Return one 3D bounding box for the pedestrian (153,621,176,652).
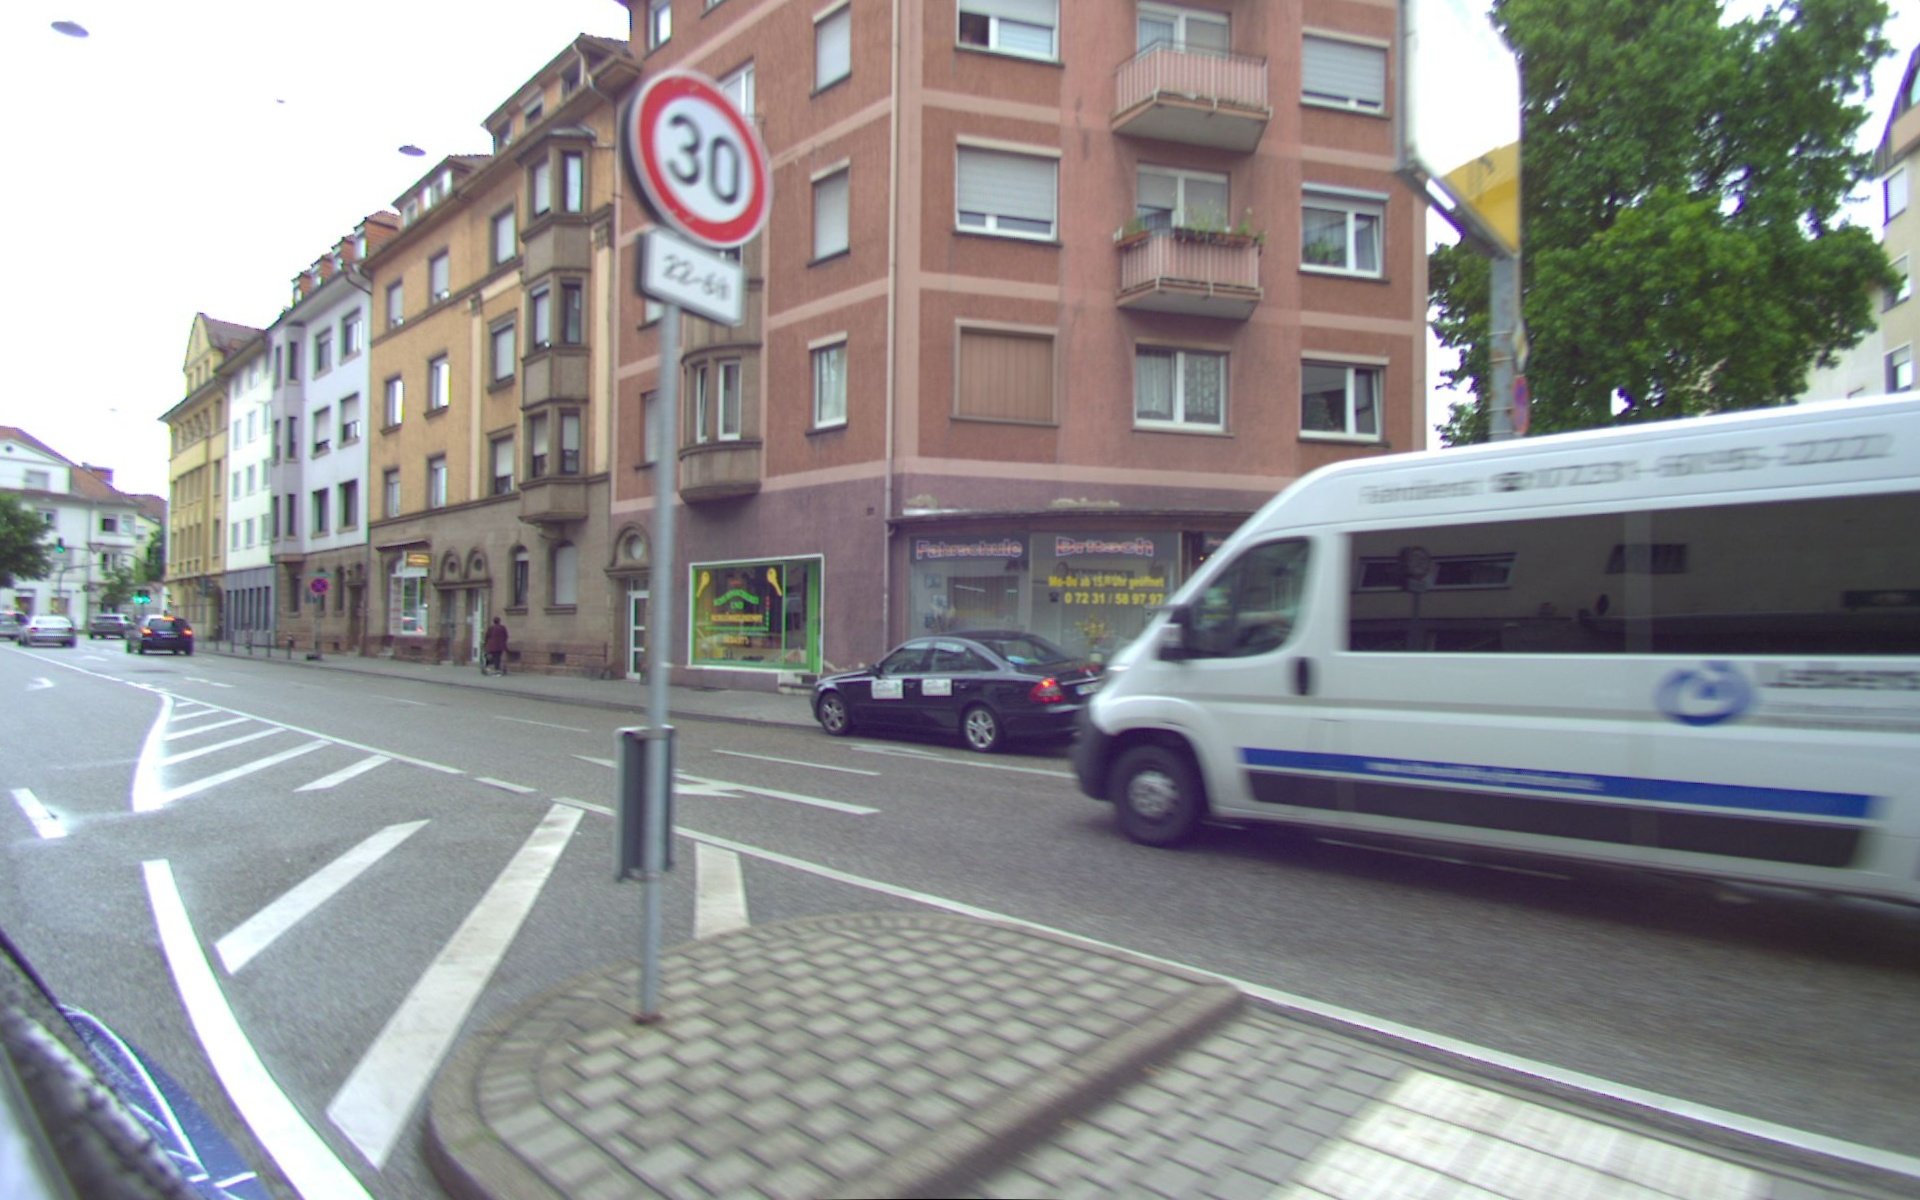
[{"bbox_3d":[-47.706,2.159,60.686,1.032,1.784,0.884,-1,1,41],"label":"pedestrian"}]

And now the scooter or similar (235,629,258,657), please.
[{"bbox_3d":[-32.260,1.921,45.759,1.578,1.222,0.456,-1,2,42],"label":"scooter or similar"}]

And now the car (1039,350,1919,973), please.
[{"bbox_3d":[3.574,0.283,5.593,6.352,2.454,2.063,-1,-3,43],"label":"car"}]

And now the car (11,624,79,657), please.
[{"bbox_3d":[-43.453,1.890,48.045,4.559,1.481,1.922,-1,-3,42],"label":"car"}]

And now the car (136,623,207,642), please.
[{"bbox_3d":[-63.204,2.616,81.153,2.012,1.529,4.006,0,-2,24],"label":"car"}]

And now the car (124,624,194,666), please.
[{"bbox_3d":[-33.361,1.837,42.115,1.734,1.664,4.309,3,-3,-45],"label":"car"}]

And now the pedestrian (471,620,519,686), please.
[{"bbox_3d":[-12.476,1.410,27.167,0.850,1.691,0.836,0,0,30],"label":"pedestrian"}]

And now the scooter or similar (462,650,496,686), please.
[{"bbox_3d":[-13.047,1.831,27.461,0.478,0.932,0.707,0,0,30],"label":"scooter or similar"}]

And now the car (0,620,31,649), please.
[{"bbox_3d":[-53.367,1.895,56.441,4.521,1.596,1.921,-1,-3,43],"label":"car"}]

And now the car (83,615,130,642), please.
[{"bbox_3d":[-54.332,1.816,64.394,1.958,1.607,4.341,3,-3,-44],"label":"car"}]

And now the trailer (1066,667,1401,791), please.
[{"bbox_3d":[2.805,1.262,10.713,3.057,0.956,1.570,-1,-2,45],"label":"trailer"}]

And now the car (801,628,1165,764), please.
[{"bbox_3d":[0.135,1.122,13.405,4.792,1.408,1.830,-1,0,42],"label":"car"}]
